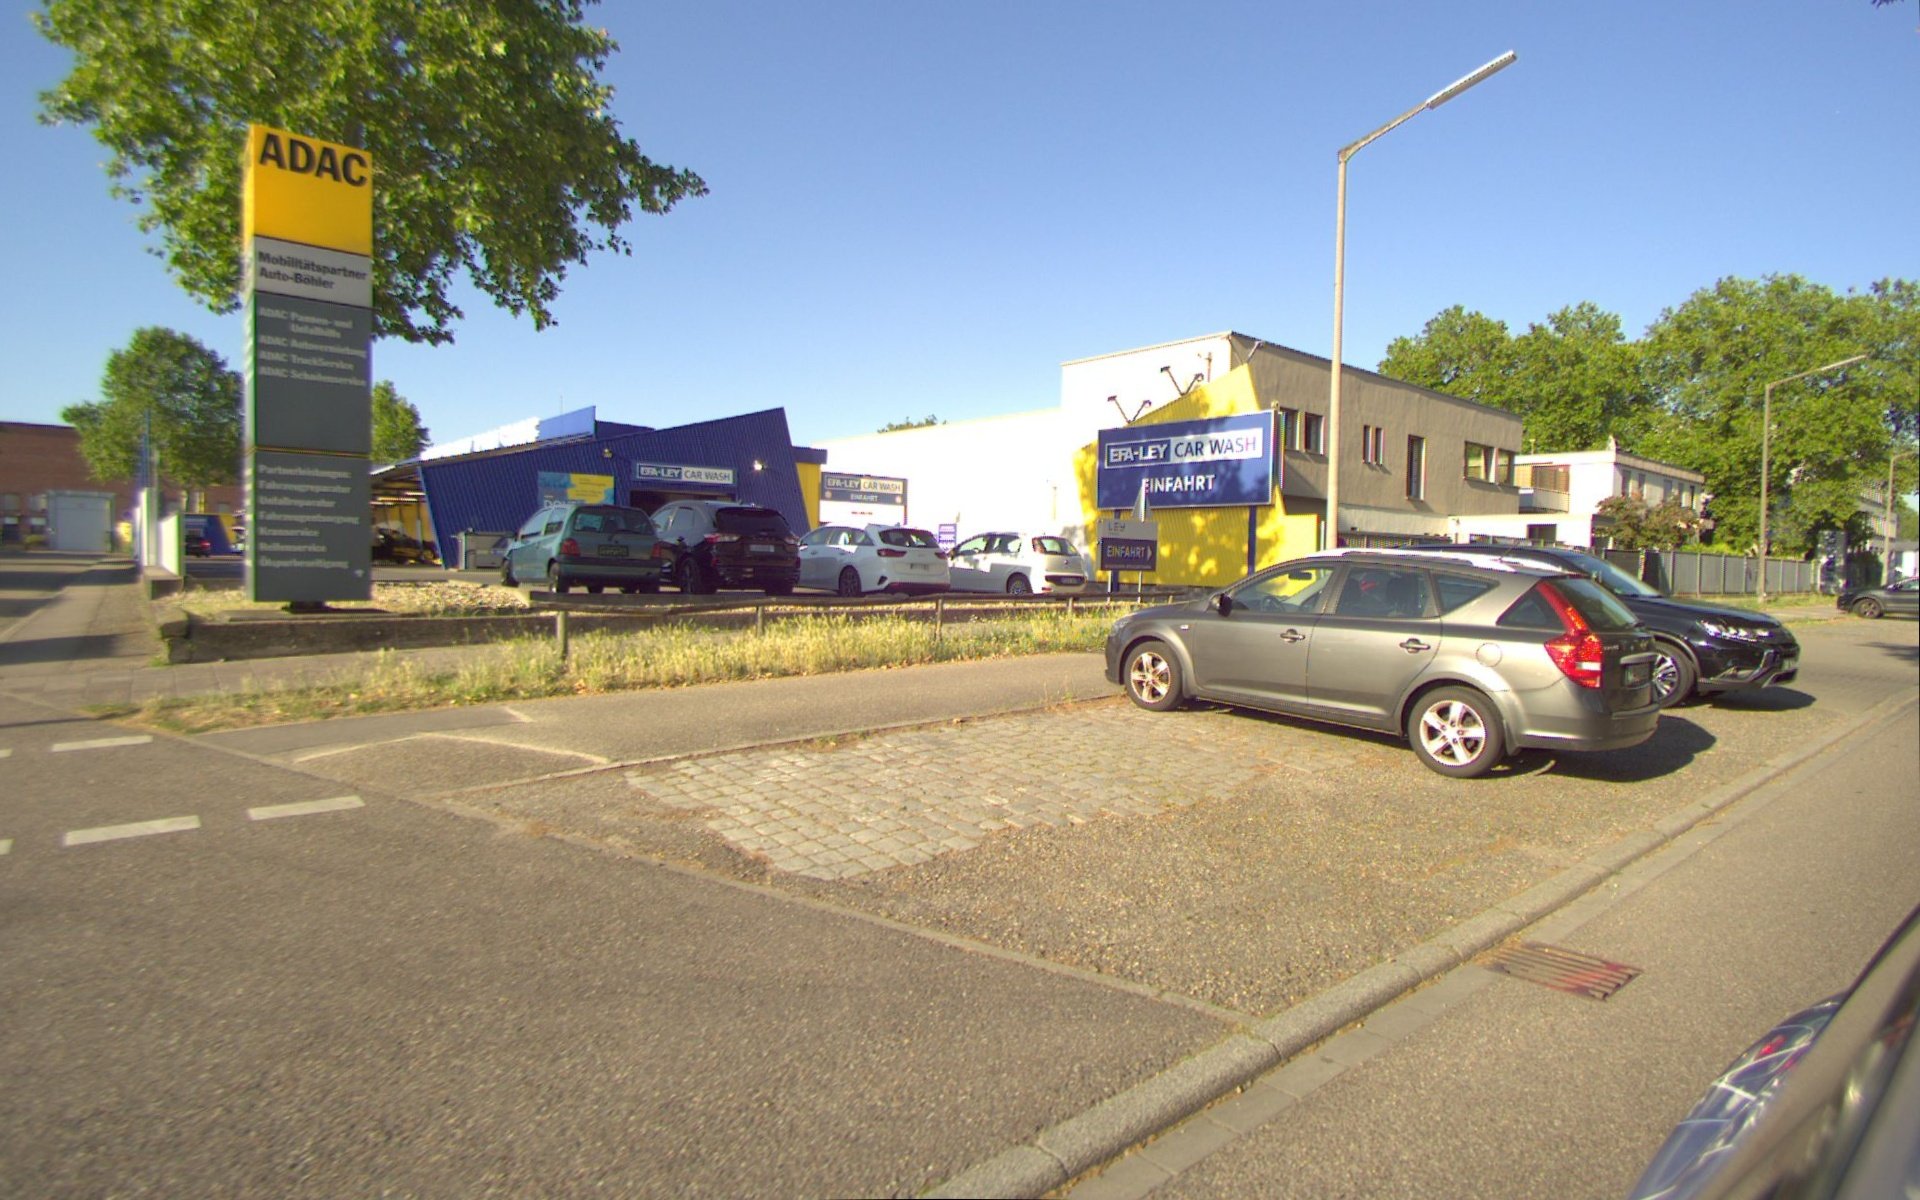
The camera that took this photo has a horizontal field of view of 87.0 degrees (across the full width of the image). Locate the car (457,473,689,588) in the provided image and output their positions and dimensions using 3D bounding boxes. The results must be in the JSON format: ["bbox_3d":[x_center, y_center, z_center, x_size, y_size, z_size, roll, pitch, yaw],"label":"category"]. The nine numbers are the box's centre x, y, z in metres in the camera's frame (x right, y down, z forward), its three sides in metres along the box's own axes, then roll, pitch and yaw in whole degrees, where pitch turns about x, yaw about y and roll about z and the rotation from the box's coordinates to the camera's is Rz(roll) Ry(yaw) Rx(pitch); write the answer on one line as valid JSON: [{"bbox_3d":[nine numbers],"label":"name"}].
[{"bbox_3d":[-6.090,-0.991,15.701,1.967,1.538,3.990,-2,2,-44],"label":"car"}]

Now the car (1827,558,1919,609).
[{"bbox_3d":[32.936,-0.511,34.643,1.966,1.544,4.636,-2,7,-41],"label":"car"}]

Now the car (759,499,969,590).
[{"bbox_3d":[-1.902,-1.000,19.231,1.921,1.538,3.990,-2,2,-44],"label":"car"}]

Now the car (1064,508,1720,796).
[{"bbox_3d":[3.247,0.130,8.495,1.965,1.632,4.613,-2,7,-40],"label":"car"}]

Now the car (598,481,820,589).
[{"bbox_3d":[-4.381,-1.043,17.333,1.967,1.615,3.990,-2,2,-44],"label":"car"}]

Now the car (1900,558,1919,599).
[{"bbox_3d":[43.468,-0.758,43.192,1.966,1.731,4.636,-2,7,-41],"label":"car"}]

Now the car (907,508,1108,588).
[{"bbox_3d":[0.927,-1.045,21.266,1.967,1.515,3.990,-2,2,-44],"label":"car"}]

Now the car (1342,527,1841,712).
[{"bbox_3d":[7.260,0.029,12.144,1.964,1.598,4.617,-2,7,-37],"label":"car"}]
